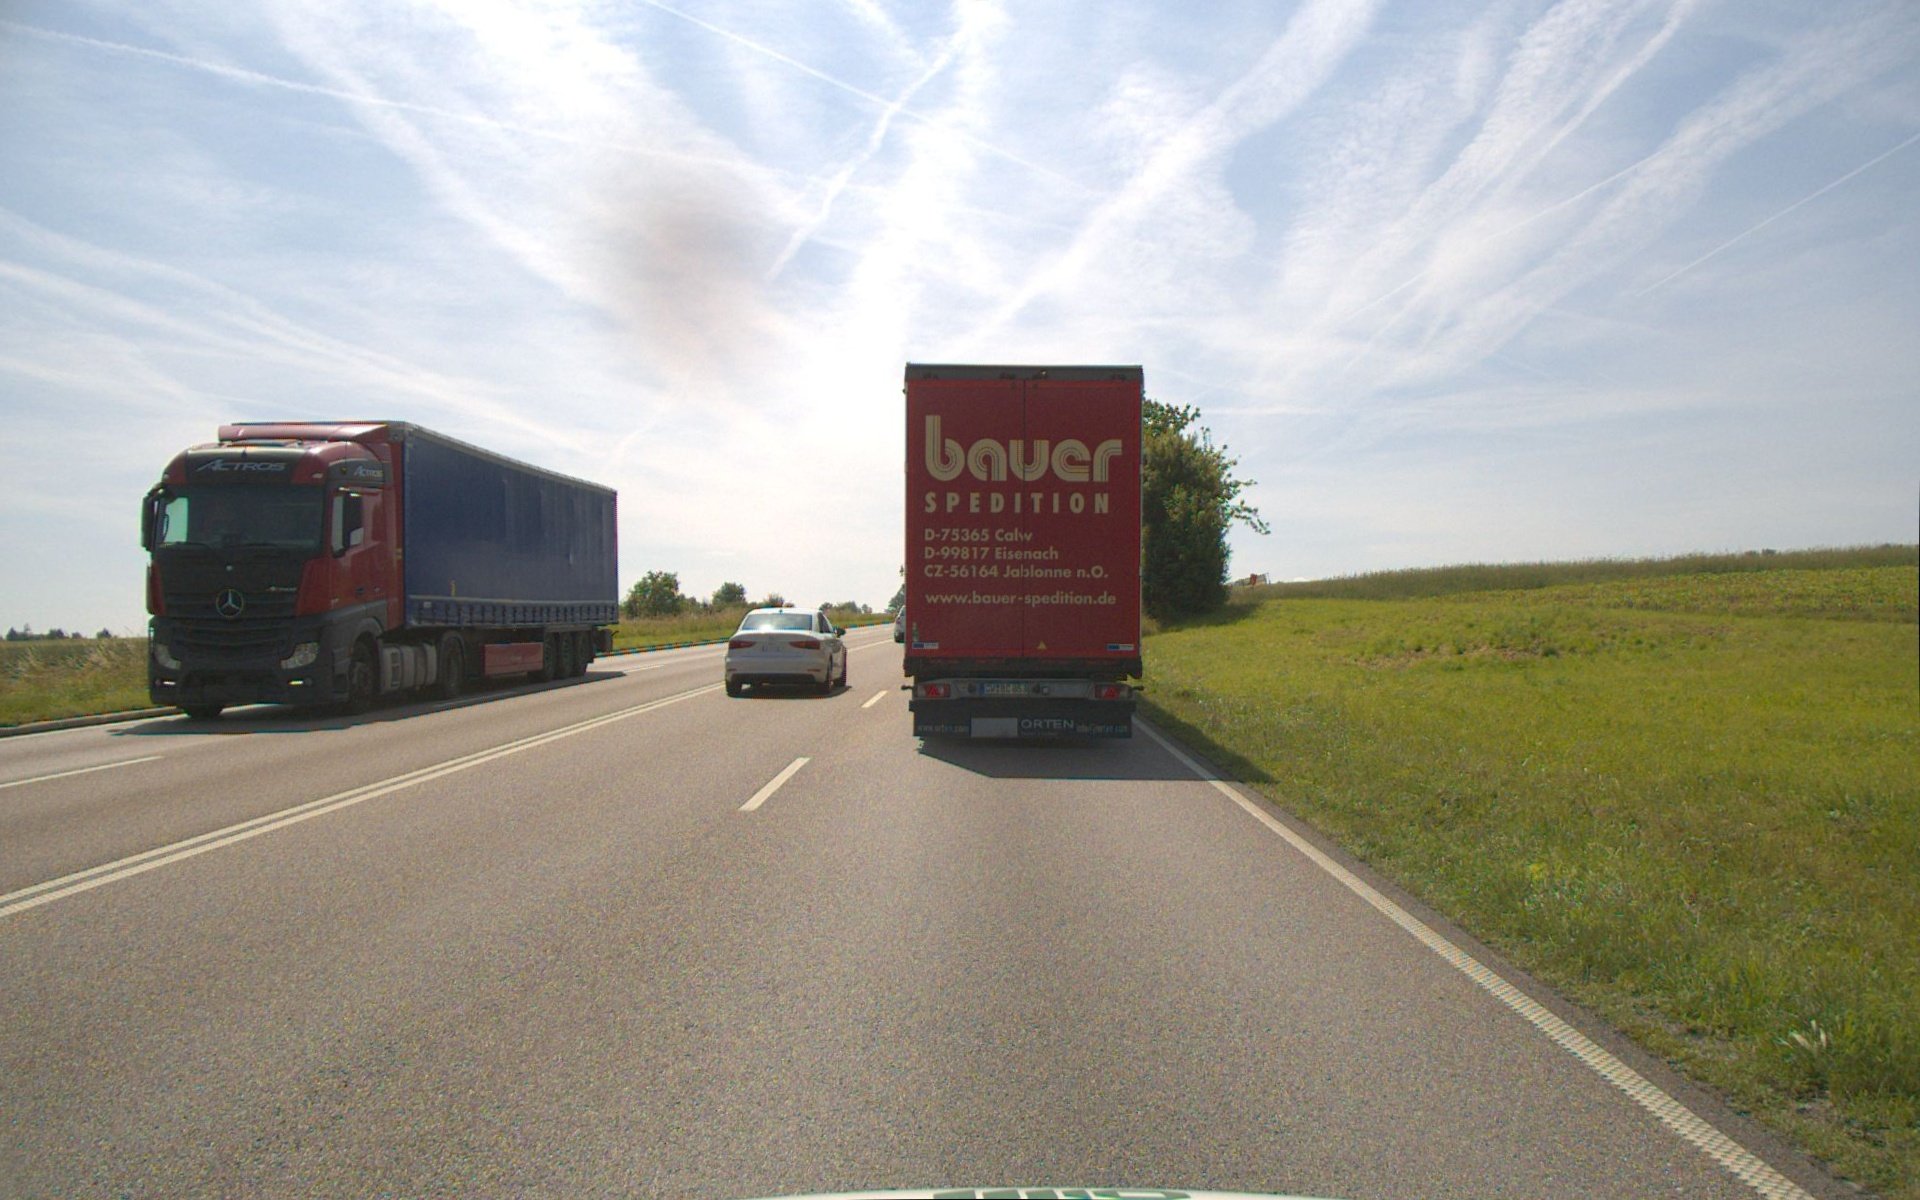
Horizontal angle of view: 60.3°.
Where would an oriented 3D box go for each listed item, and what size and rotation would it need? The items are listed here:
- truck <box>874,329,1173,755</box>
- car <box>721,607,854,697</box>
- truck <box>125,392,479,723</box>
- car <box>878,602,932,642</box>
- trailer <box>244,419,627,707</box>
[{"bbox_3d":[0.581,-0.533,25.164,2.946,4.253,16.711,1,0,0],"label":"truck"},{"bbox_3d":[-2.891,0.838,28.548,1.668,1.400,4.604,1,0,2],"label":"car"},{"bbox_3d":[-9.267,-0.534,24.100,2.563,4.173,6.089,-1,0,1],"label":"truck"},{"bbox_3d":[-2.155,0.862,66.059,1.783,1.498,4.790,1,0,2],"label":"car"},{"bbox_3d":[-9.069,-0.525,31.052,2.492,4.173,13.585,-1,0,1],"label":"trailer"}]
